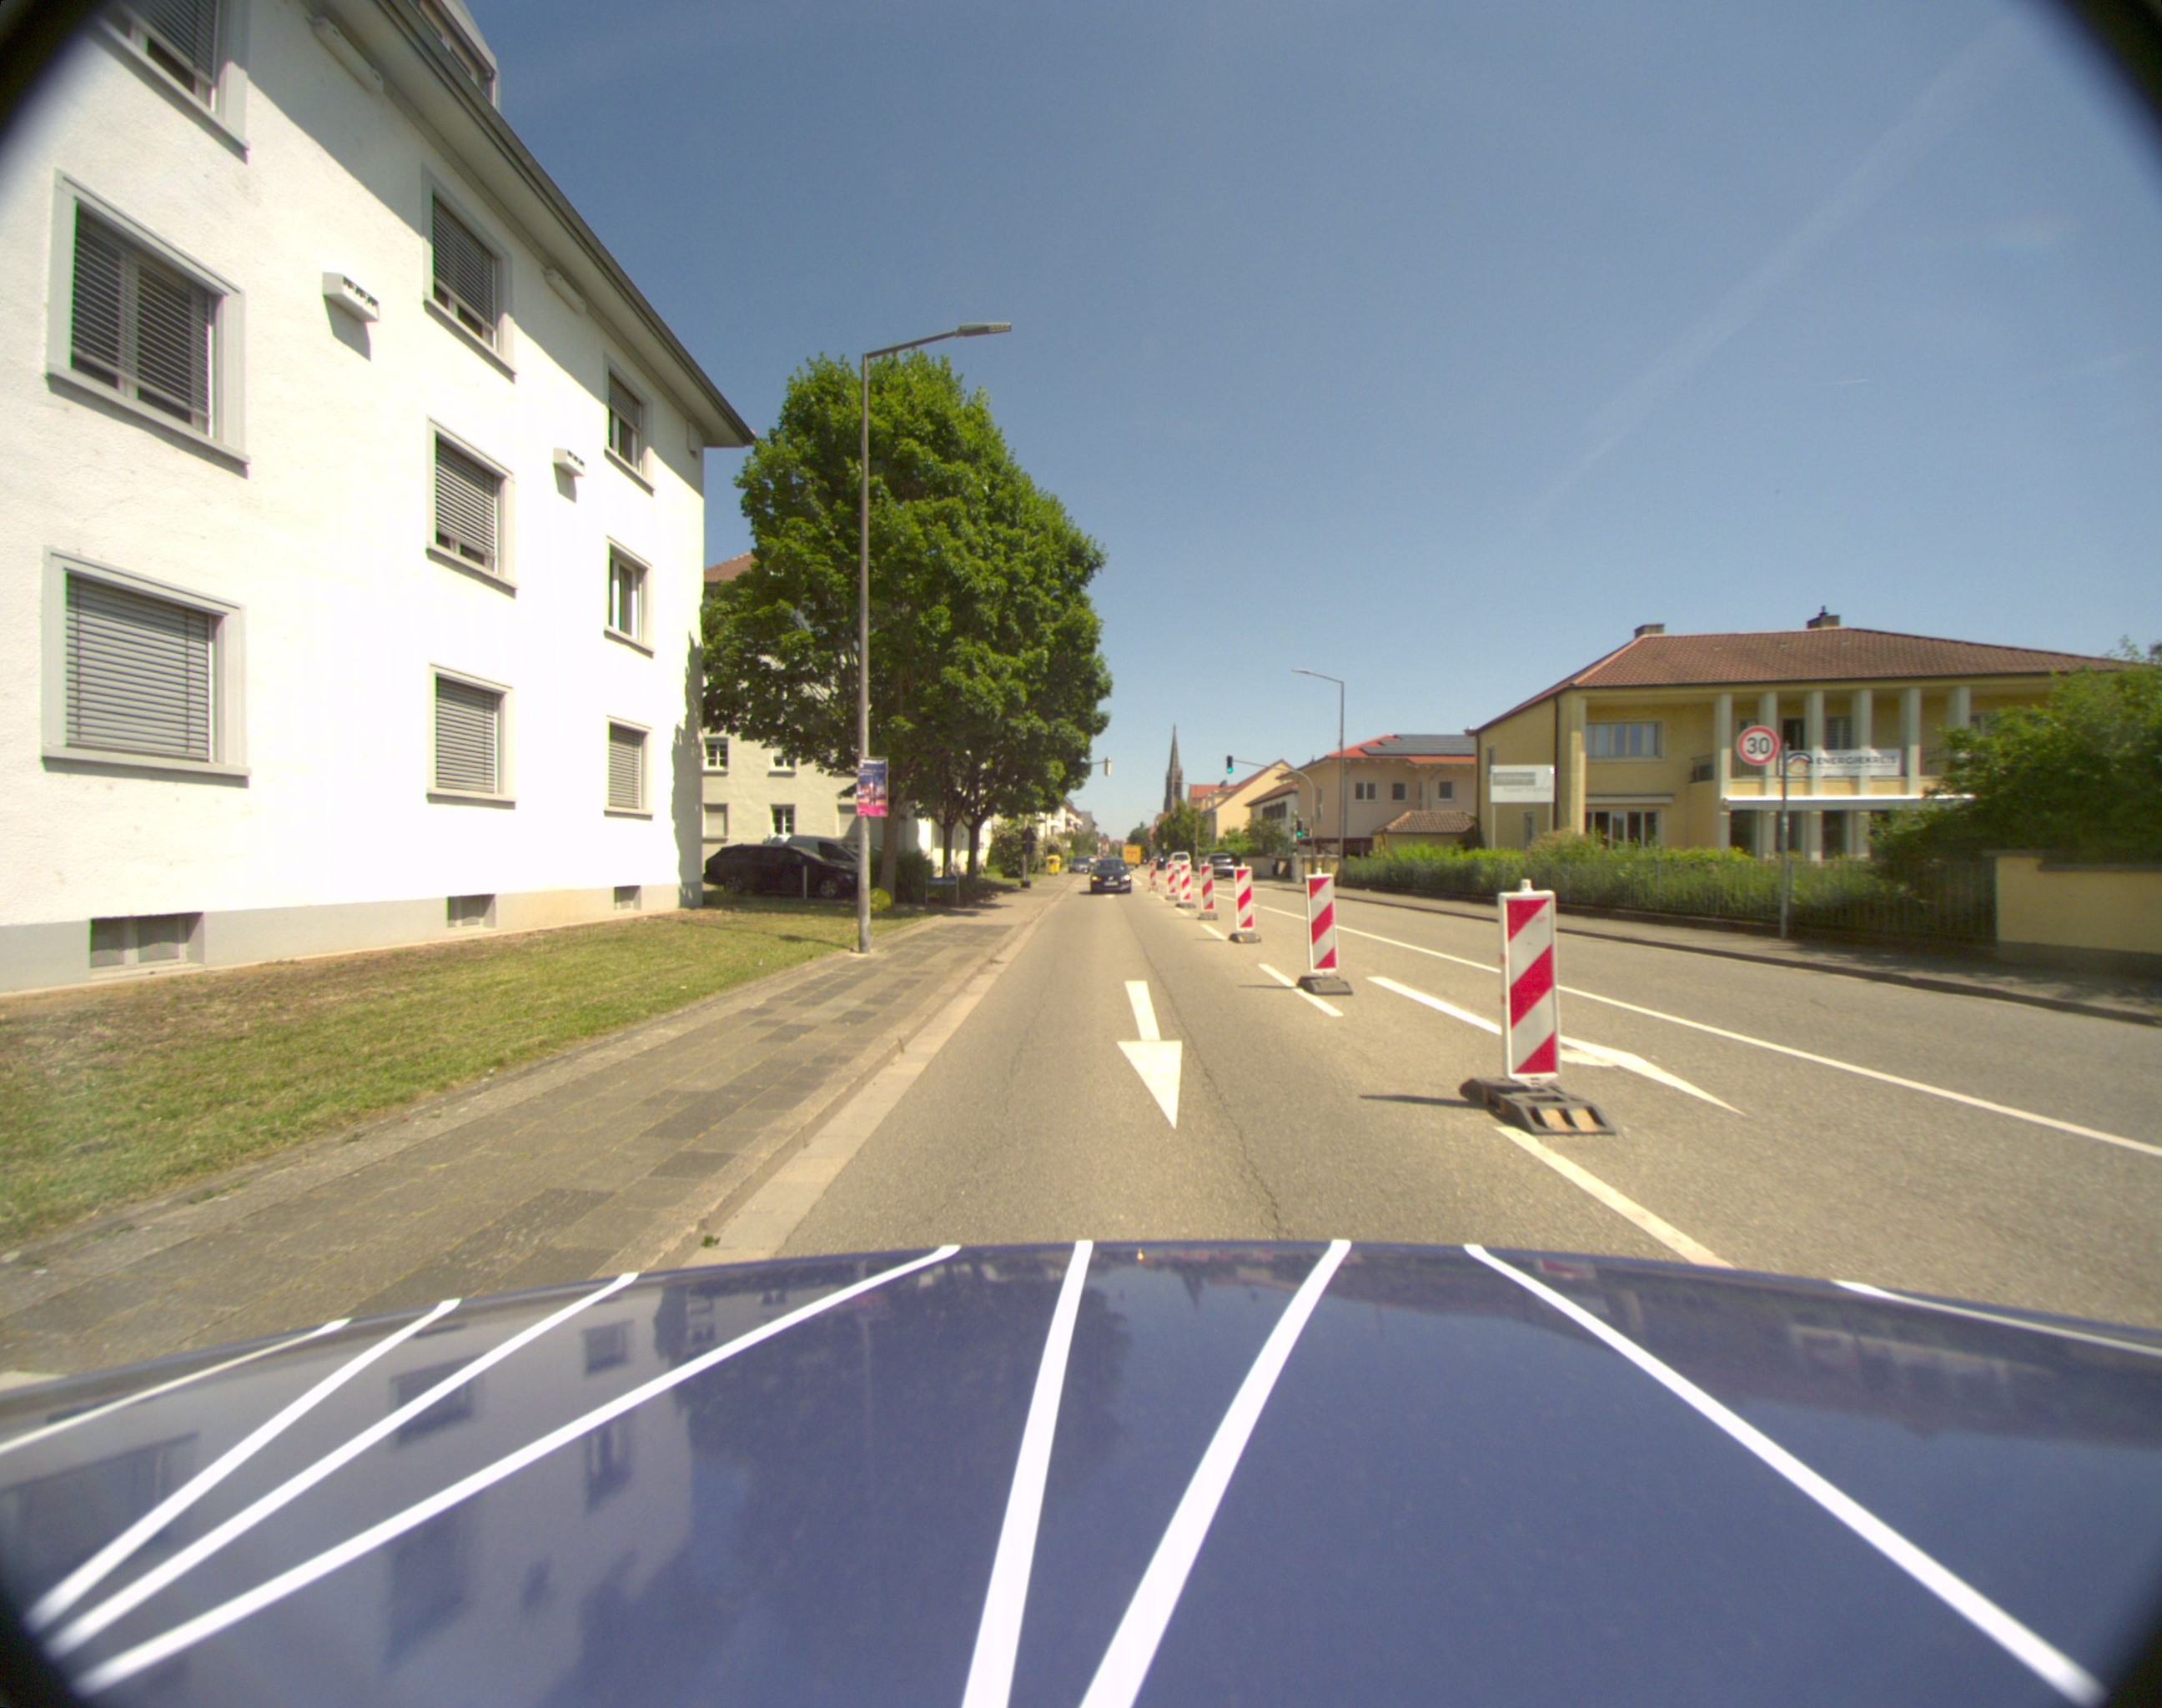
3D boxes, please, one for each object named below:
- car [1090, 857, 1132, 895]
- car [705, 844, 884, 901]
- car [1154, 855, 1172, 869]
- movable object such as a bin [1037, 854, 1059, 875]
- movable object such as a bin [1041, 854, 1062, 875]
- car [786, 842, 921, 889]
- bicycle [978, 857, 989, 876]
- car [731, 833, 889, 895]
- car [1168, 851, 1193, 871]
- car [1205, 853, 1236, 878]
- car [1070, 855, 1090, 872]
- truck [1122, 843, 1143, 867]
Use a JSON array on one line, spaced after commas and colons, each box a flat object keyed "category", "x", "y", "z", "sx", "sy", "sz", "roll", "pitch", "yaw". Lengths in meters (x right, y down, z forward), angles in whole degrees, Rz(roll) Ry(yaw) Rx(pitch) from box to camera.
[{"category": "car", "x": 1.284, "y": 0.881, "z": 31.555, "sx": 1.607, "sy": 1.436, "sz": 3.910, "roll": -1, "pitch": 0, "yaw": 4}, {"category": "car", "x": -8.155, "y": 0.510, "z": 21.974, "sx": 4.366, "sy": 1.427, "sz": 2.000, "roll": 2, "pitch": 0, "yaw": -1}, {"category": "car", "x": 9.352, "y": 0.882, "z": 86.704, "sx": 1.624, "sy": 1.595, "sz": 3.513, "roll": 1, "pitch": 0, "yaw": 0}, {"category": "movable object such as a bin", "x": -2.356, "y": 0.757, "z": 55.107, "sx": 1.499, "sy": 1.472, "sz": 1.423, "roll": 1, "pitch": 0, "yaw": 0}, {"category": "movable object such as a bin", "x": -2.196, "y": 0.771, "z": 56.634, "sx": 1.499, "sy": 1.472, "sz": 1.423, "roll": 1, "pitch": 0, "yaw": 0}, {"category": "car", "x": -8.335, "y": 0.405, "z": 28.191, "sx": 4.366, "sy": 1.517, "sz": 2.000, "roll": 2, "pitch": 0, "yaw": -1}, {"category": "bicycle", "x": -5.681, "y": 0.712, "z": 44.330, "sx": 0.407, "sy": 1.050, "sz": 1.522, "roll": 1, "pitch": 0, "yaw": 2}, {"category": "car", "x": -8.692, "y": 0.314, "z": 24.662, "sx": 4.366, "sy": 1.776, "sz": 2.000, "roll": 2, "pitch": 0, "yaw": -1}, {"category": "car", "x": 8.963, "y": 0.631, "z": 68.811, "sx": 1.718, "sy": 1.776, "sz": 3.890, "roll": 1, "pitch": 0, "yaw": 0}, {"category": "car", "x": 8.925, "y": 0.723, "z": 48.922, "sx": 1.389, "sy": 1.568, "sz": 3.321, "roll": 1, "pitch": 0, "yaw": 0}, {"category": "car", "x": -0.049, "y": 0.803, "z": 64.756, "sx": 1.607, "sy": 1.403, "sz": 3.909, "roll": -1, "pitch": 0, "yaw": 2}, {"category": "truck", "x": 6.572, "y": 0.092, "z": 97.565, "sx": 2.222, "sy": 2.920, "sz": 5.351, "roll": 1, "pitch": 0, "yaw": 0}]
